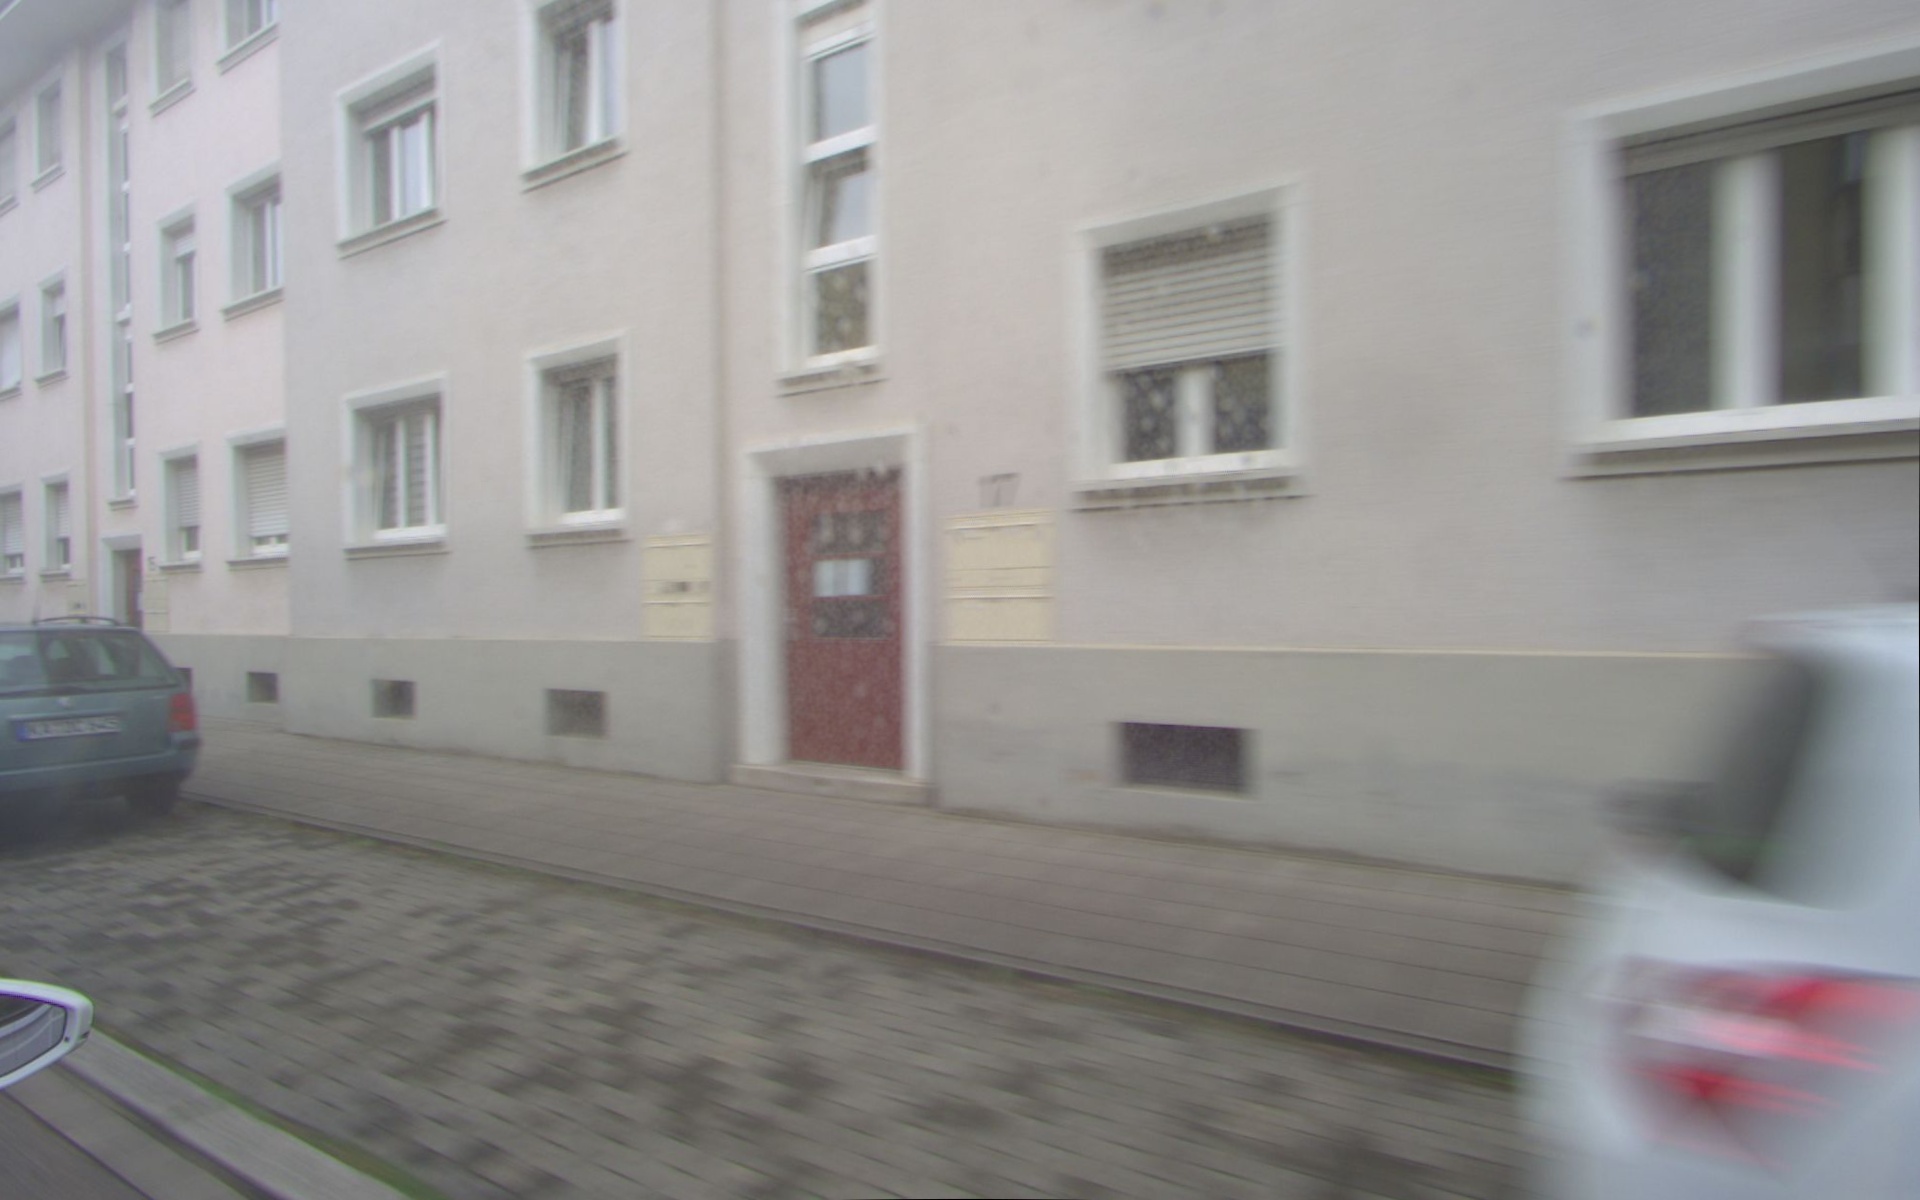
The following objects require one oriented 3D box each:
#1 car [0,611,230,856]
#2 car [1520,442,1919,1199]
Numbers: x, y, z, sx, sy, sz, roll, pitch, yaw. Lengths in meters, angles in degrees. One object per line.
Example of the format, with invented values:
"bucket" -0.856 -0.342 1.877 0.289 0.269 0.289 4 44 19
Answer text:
"car" -7.425 0.837 7.503 4.203 1.488 1.722 -1 -1 32
"car" 2.716 0.644 0.921 3.751 1.620 1.779 -1 -1 33
